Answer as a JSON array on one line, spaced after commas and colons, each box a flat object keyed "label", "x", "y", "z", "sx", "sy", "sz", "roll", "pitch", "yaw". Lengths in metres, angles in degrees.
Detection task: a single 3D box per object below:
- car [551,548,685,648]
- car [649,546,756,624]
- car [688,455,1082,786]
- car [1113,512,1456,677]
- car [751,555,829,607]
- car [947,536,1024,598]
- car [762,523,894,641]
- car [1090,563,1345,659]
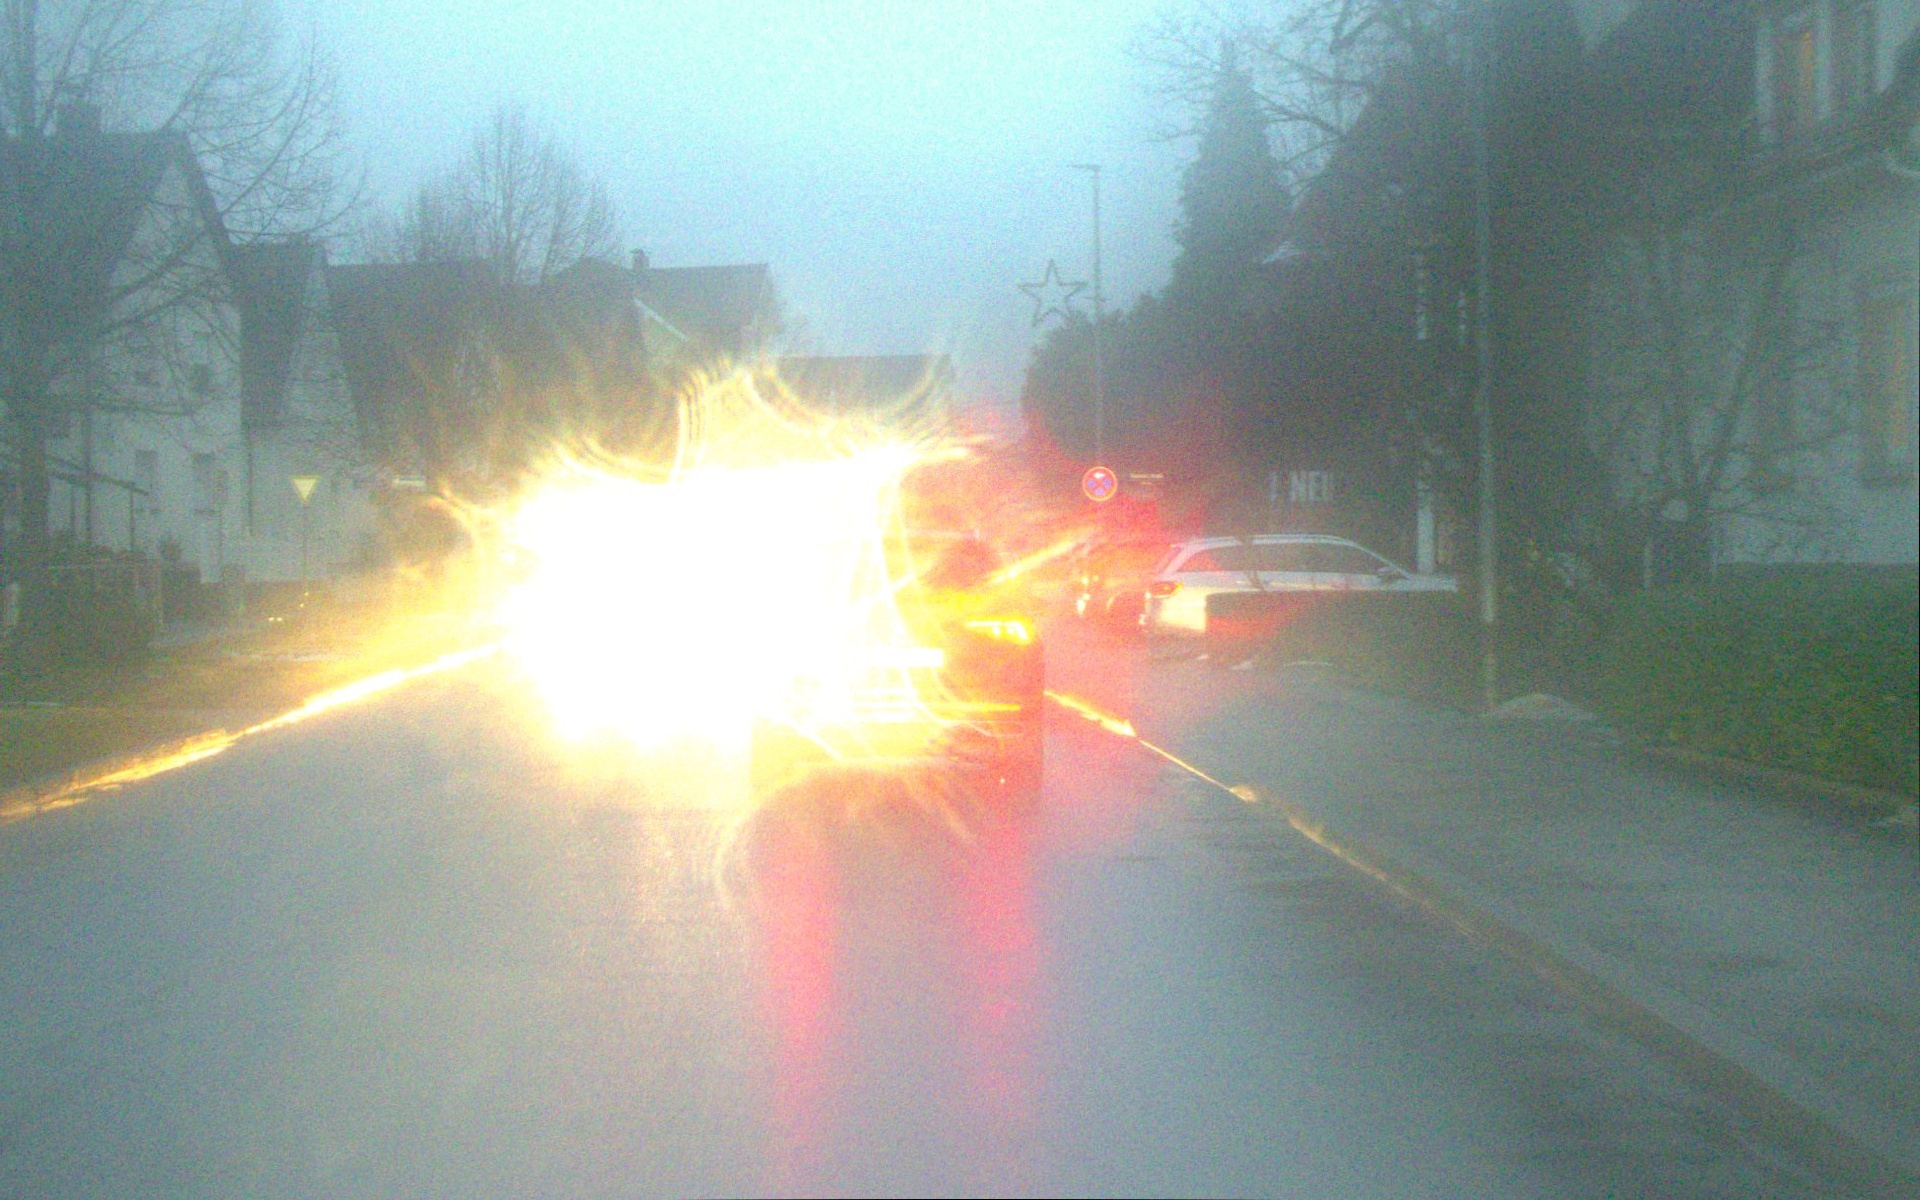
[{"label": "car", "x": -5.736, "y": -0.062, "z": 58.033, "sx": 1.913, "sy": 1.517, "sz": 4.001, "roll": 0, "pitch": 3, "yaw": -1}, {"label": "car", "x": -5.442, "y": -0.337, "z": 73.200, "sx": 1.913, "sy": 1.426, "sz": 4.001, "roll": 0, "pitch": 3, "yaw": 1}, {"label": "car", "x": -0.540, "y": 0.104, "z": 22.774, "sx": 2.309, "sy": 1.932, "sz": 5.018, "roll": -1, "pitch": 0, "yaw": -2}, {"label": "car", "x": 4.096, "y": -0.080, "z": 43.834, "sx": 4.247, "sy": 2.007, "sz": 1.810, "roll": -1, "pitch": 1, "yaw": 3}, {"label": "car", "x": -4.545, "y": -0.515, "z": 92.500, "sx": 1.842, "sy": 1.327, "sz": 3.938, "roll": -1, "pitch": 1, "yaw": 1}, {"label": "car", "x": 0.787, "y": -1.043, "z": 109.677, "sx": 2.309, "sy": 1.932, "sz": 5.018, "roll": -1, "pitch": 0, "yaw": -1}, {"label": "car", "x": -1.960, "y": -0.293, "z": 50.753, "sx": 1.857, "sy": 1.641, "sz": 4.001, "roll": 0, "pitch": 1, "yaw": -3}, {"label": "car", "x": 3.918, "y": 0.153, "z": 52.693, "sx": 3.767, "sy": 1.385, "sz": 1.765, "roll": -1, "pitch": 1, "yaw": 0}]
